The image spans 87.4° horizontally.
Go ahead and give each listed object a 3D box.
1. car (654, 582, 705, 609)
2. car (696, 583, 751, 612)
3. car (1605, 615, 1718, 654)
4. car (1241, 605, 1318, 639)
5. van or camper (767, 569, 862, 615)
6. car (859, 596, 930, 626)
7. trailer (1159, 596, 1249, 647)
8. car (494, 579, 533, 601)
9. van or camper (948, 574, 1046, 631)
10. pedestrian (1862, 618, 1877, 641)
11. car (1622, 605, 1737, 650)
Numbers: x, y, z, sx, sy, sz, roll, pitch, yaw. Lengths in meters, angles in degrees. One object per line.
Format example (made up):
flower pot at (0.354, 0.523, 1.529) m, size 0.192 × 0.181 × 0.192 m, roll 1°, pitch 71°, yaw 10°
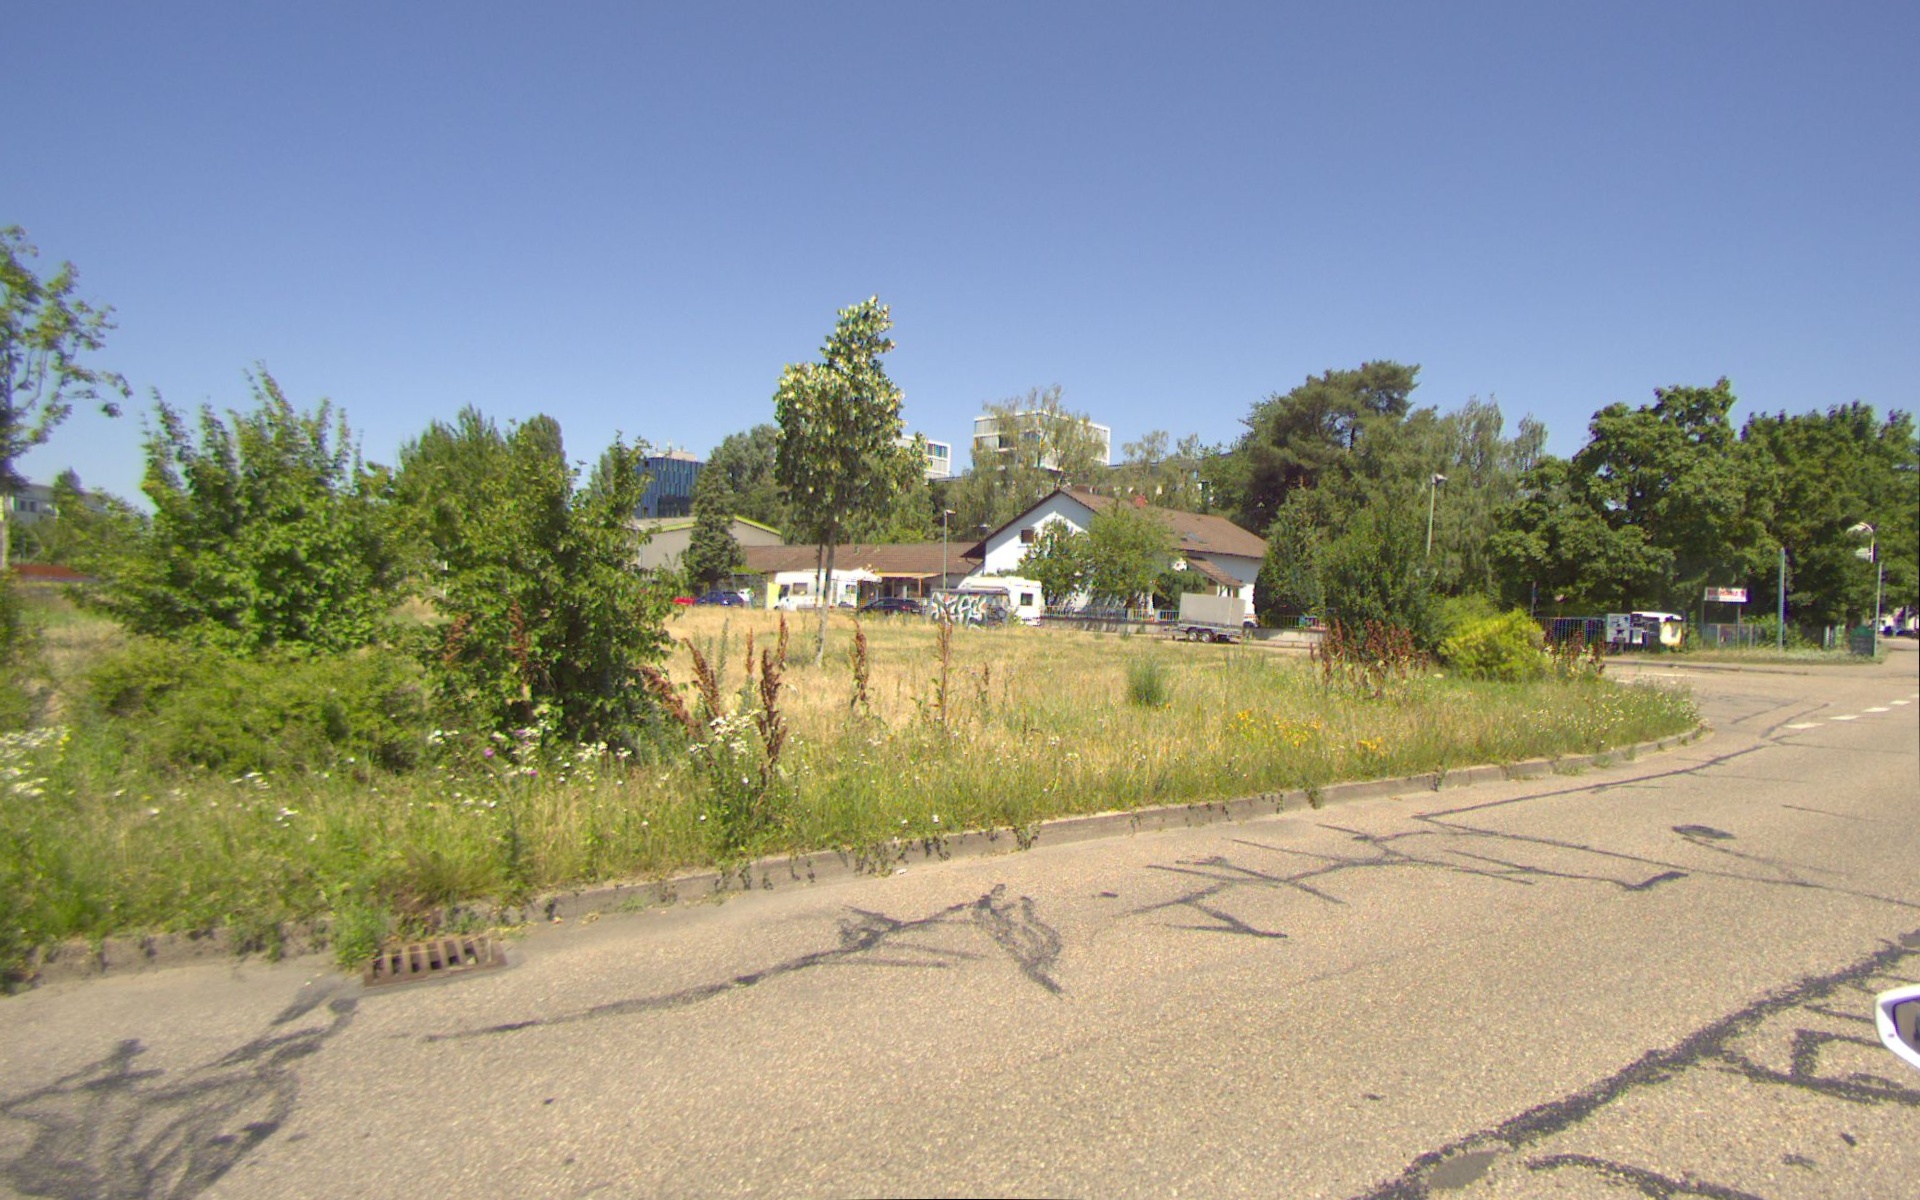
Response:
car at (-19.779, -0.309, 70.853) m, size 3.526 × 1.795 × 1.749 m, roll 2°, pitch 0°, yaw 40°
car at (-15.815, -0.163, 67.088) m, size 3.525 × 1.795 × 1.749 m, roll 2°, pitch 0°, yaw 40°
car at (30.902, 1.488, 44.322) m, size 3.822 × 1.546 × 1.799 m, roll 2°, pitch 0°, yaw 45°
car at (16.409, 1.122, 51.625) m, size 3.299 × 1.598 × 1.762 m, roll 2°, pitch 0°, yaw 44°
van or camper at (-8.886, -0.494, 60.970) m, size 5.882 × 2.628 × 2.459 m, roll 2°, pitch 0°, yaw 42°
car at (-3.718, 0.597, 56.647) m, size 1.903 × 1.573 × 3.946 m, roll 1°, pitch 0°, yaw -45°
trailer at (10.667, 0.898, 43.968) m, size 3.377 × 2.073 × 1.750 m, roll 2°, pitch 0°, yaw 43°
car at (-38.969, -0.883, 87.590) m, size 3.526 × 1.795 × 1.749 m, roll 2°, pitch 0°, yaw 40°
van or camper at (1.856, 0.118, 51.320) m, size 4.403 × 2.626 × 2.478 m, roll 4°, pitch 2°, yaw 43°
pedestrian at (72.787, 2.363, 80.384) m, size 0.713 × 1.748 × 0.815 m, roll 2°, pitch 0°, yaw 37°
car at (35.164, 1.336, 49.138) m, size 1.769 × 2.003 × 4.267 m, roll 2°, pitch 0°, yaw -42°
